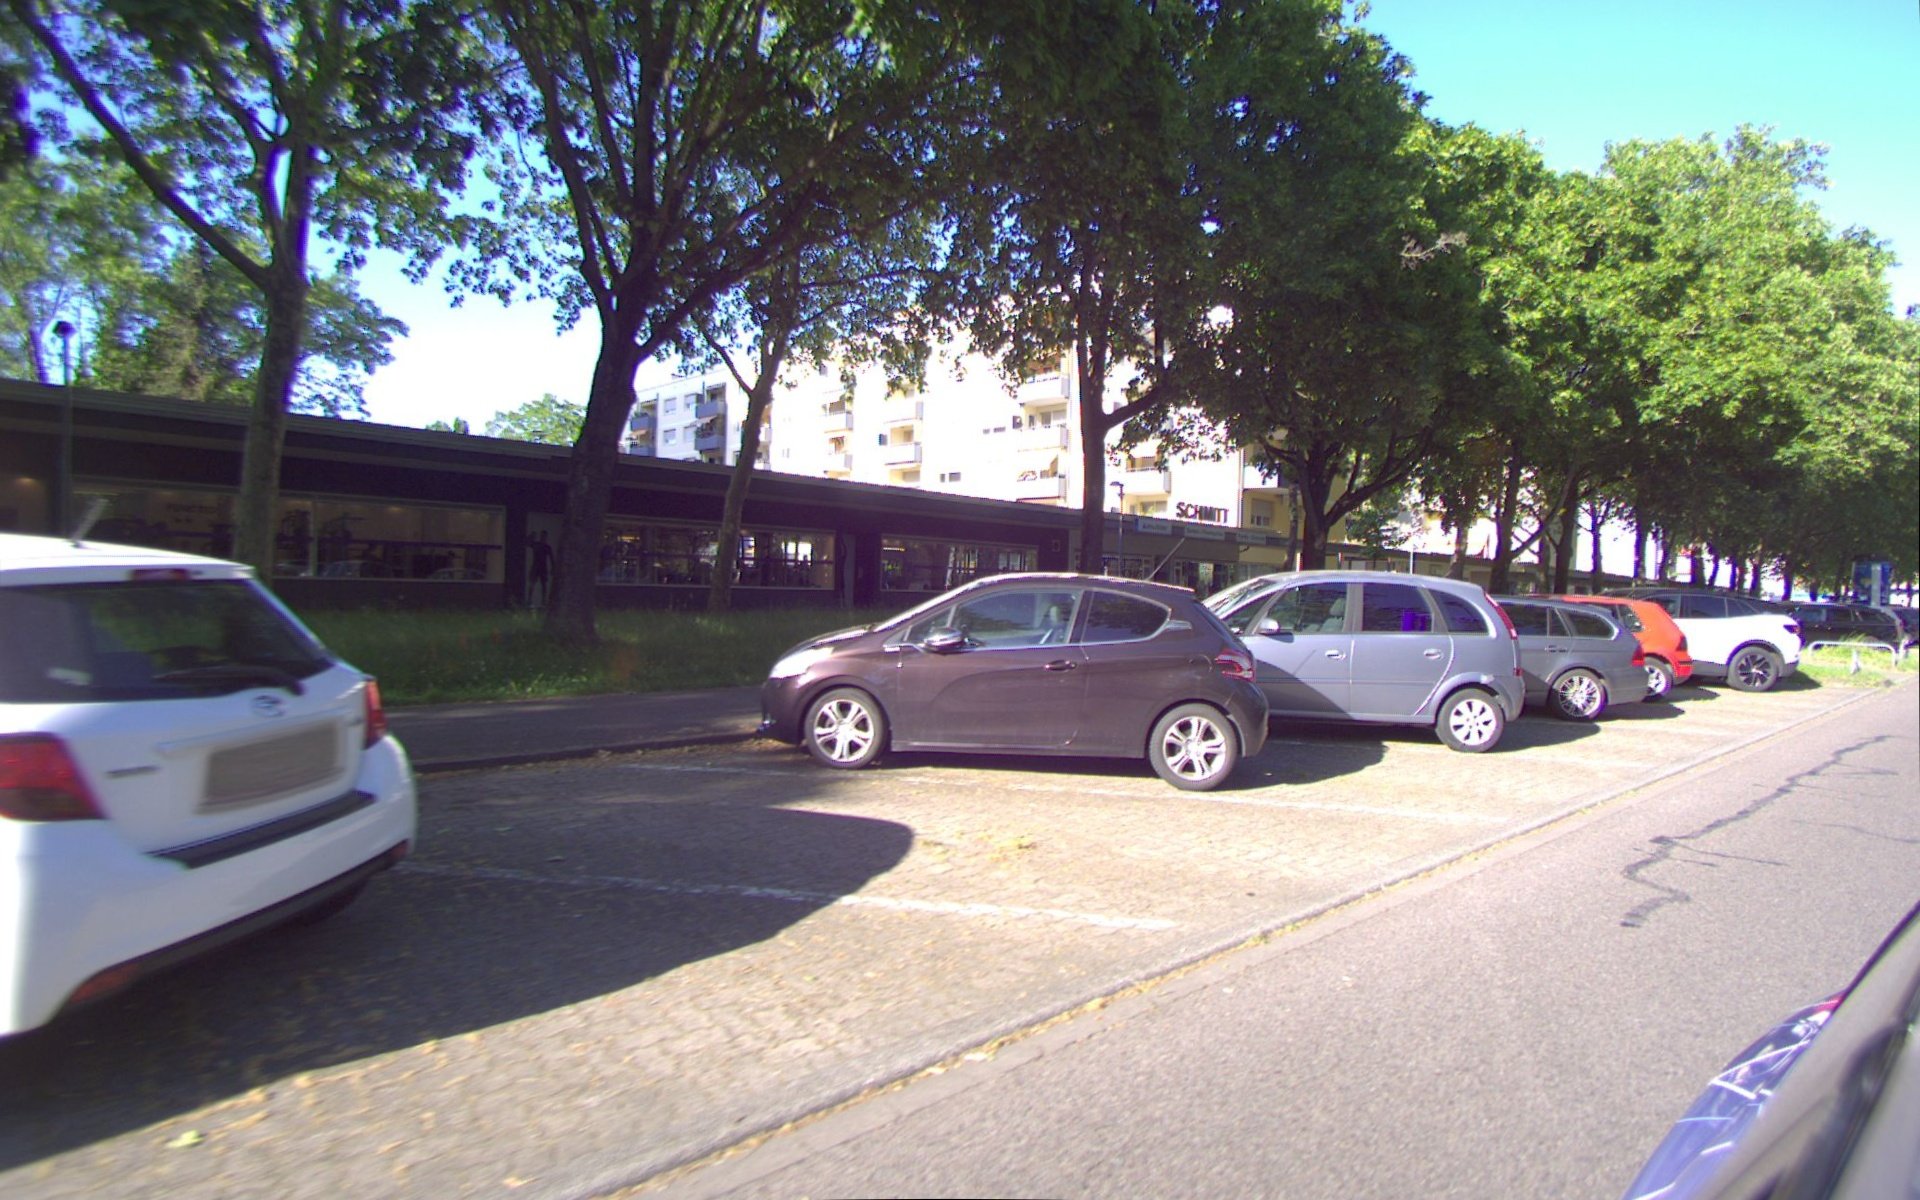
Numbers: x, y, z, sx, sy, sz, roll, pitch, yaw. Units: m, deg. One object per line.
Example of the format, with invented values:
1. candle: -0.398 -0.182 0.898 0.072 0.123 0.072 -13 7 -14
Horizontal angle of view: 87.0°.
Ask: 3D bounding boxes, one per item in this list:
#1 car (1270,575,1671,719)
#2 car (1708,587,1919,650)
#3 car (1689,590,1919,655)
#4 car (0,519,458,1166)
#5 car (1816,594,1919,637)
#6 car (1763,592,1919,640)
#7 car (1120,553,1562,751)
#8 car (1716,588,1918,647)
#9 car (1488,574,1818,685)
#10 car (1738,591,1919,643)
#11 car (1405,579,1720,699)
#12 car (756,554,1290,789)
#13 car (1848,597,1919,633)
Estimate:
1. car: 6.135 0.518 12.543 4.013 1.420 1.686 3 2 3
2. car: 25.662 0.522 30.487 4.591 1.585 1.999 3 2 3
3. car: 23.149 0.595 27.839 4.591 1.442 1.999 3 2 3
4. car: -3.868 0.462 3.400 3.565 1.513 1.680 3 2 7
5. car: 36.558 0.639 39.545 4.418 1.466 1.899 3 2 3
6. car: 32.731 0.590 37.372 4.418 1.466 1.899 3 2 3
7. car: 3.565 0.427 10.028 3.655 1.610 1.700 3 2 3
8. car: 27.535 0.531 32.643 4.591 1.539 1.999 3 2 3
9. car: 11.681 0.444 17.322 4.225 1.696 1.867 1 2 4
10. car: 30.240 0.568 35.233 4.591 1.466 1.999 3 2 3
11. car: 8.738 0.510 14.975 3.515 1.437 1.709 3 3 7
12. car: 0.447 0.450 7.919 3.678 1.476 1.682 2 2 4
13. car: 44.049 0.734 46.585 4.418 1.466 1.899 3 2 3
